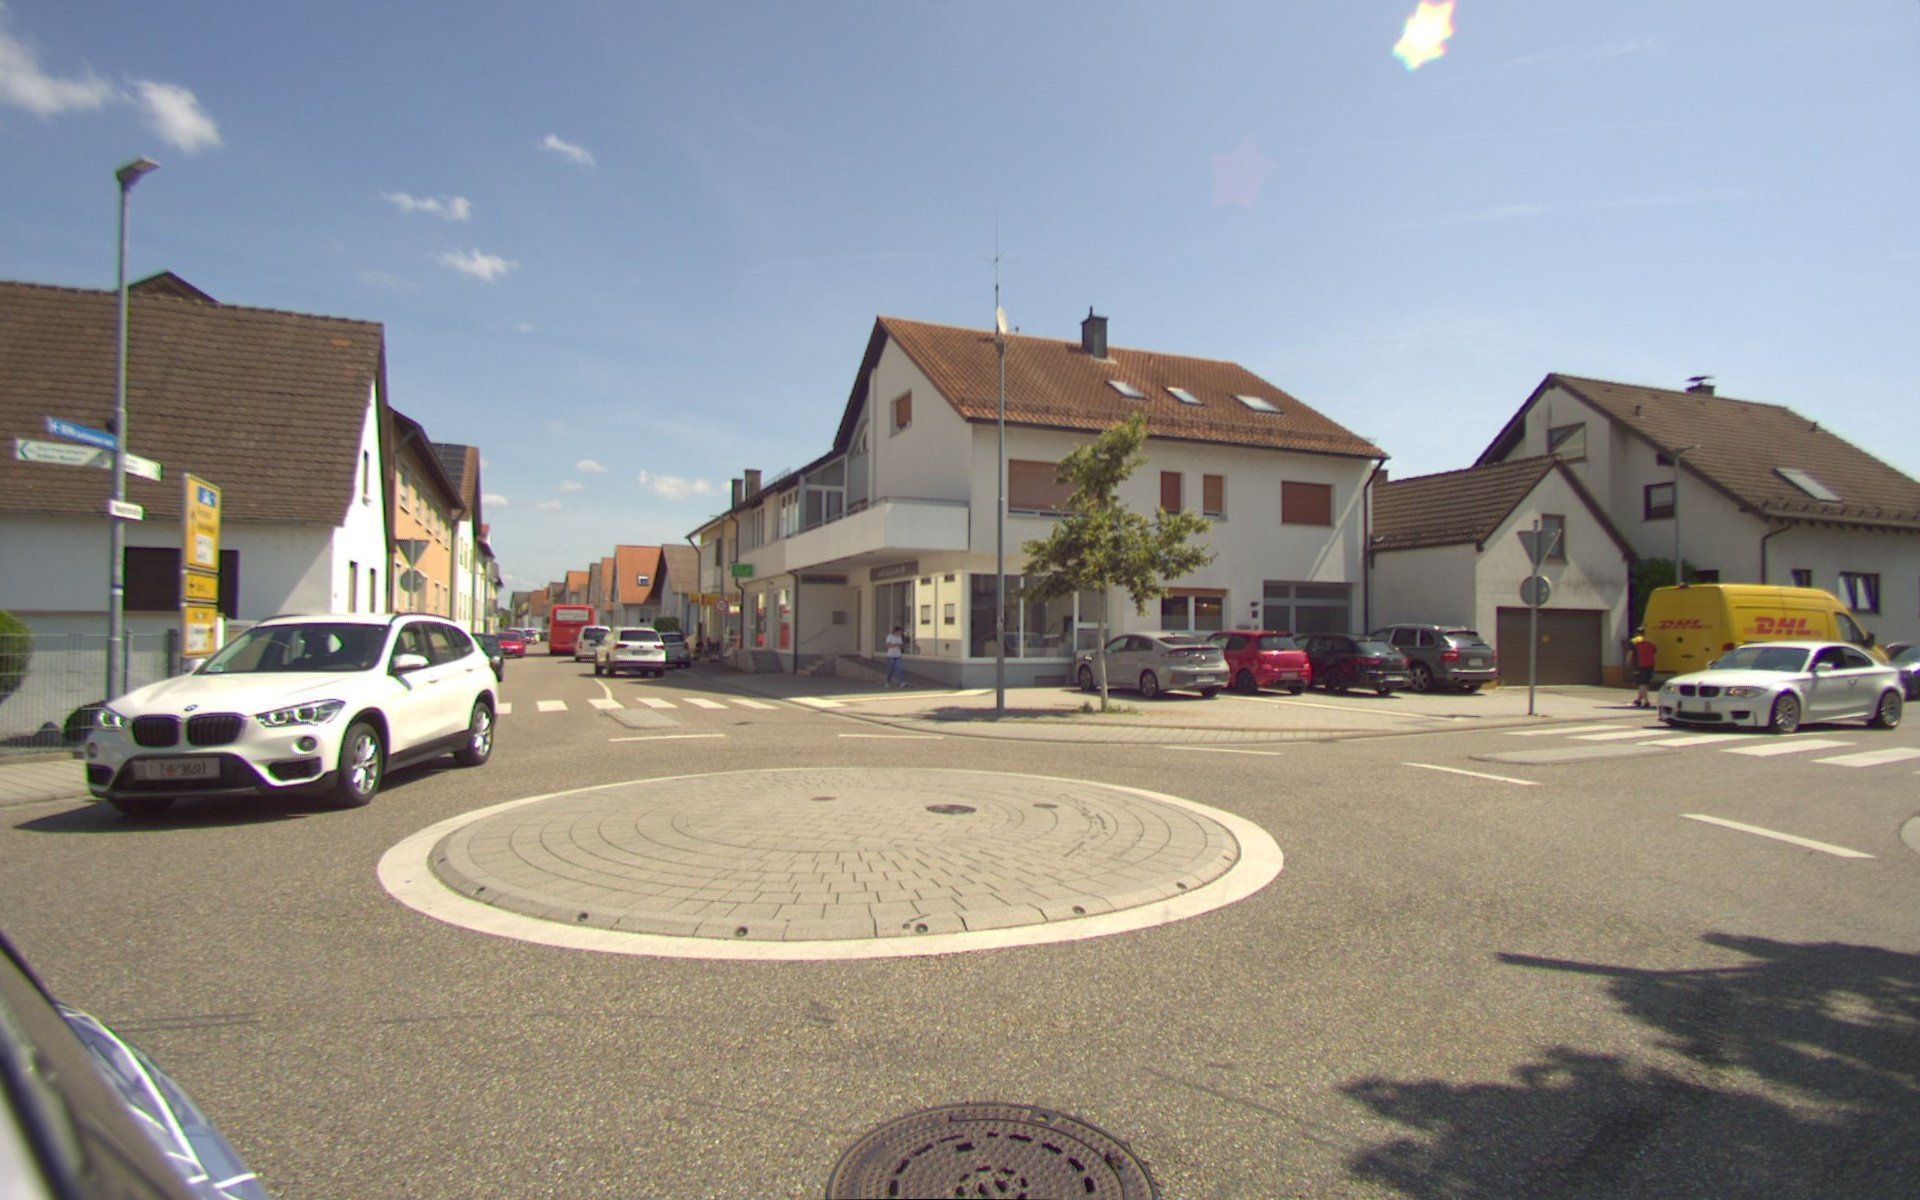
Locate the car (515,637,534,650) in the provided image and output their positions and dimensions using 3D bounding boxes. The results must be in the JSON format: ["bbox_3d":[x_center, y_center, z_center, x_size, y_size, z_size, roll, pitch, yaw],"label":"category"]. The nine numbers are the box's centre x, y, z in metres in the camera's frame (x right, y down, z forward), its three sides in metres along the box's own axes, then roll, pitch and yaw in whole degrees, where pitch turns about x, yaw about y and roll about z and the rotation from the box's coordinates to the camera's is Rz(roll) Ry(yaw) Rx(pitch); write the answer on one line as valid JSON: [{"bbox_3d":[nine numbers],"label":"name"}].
[{"bbox_3d":[-48.454,4.879,112.639,1.735,1.439,4.202,2,-3,-26],"label":"car"}]

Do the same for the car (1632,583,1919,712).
[{"bbox_3d":[17.843,1.050,22.184,5.586,2.592,2.119,1,-3,-18],"label":"car"}]

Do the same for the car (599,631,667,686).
[{"bbox_3d":[-11.120,1.918,34.233,1.839,1.723,4.557,1,-2,-22],"label":"car"}]

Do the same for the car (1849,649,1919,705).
[{"bbox_3d":[24.661,1.879,25.318,3.905,1.254,1.791,-1,-2,-17],"label":"car"}]

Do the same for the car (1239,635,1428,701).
[{"bbox_3d":[9.147,1.617,25.238,1.804,1.462,4.493,1,-2,-24],"label":"car"}]

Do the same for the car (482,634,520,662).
[{"bbox_3d":[-24.740,2.585,54.629,1.735,1.439,4.202,1,-3,-23],"label":"car"}]

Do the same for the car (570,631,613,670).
[{"bbox_3d":[-18.557,2.499,50.847,1.746,1.835,4.456,3,-3,-23],"label":"car"}]

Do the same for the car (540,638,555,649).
[{"bbox_3d":[-58.435,6.170,143.411,1.735,1.439,3.865,2,-3,-26],"label":"car"}]

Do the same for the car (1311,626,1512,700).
[{"bbox_3d":[11.798,1.584,26.849,1.953,1.753,4.765,1,-2,-24],"label":"car"}]

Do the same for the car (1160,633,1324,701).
[{"bbox_3d":[6.754,1.570,24.701,1.722,1.488,3.977,1,-2,-24],"label":"car"}]

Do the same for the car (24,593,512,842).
[{"bbox_3d":[-5.756,0.874,9.209,1.817,1.658,4.380,-2,-2,-6],"label":"car"}]

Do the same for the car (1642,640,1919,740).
[{"bbox_3d":[13.563,1.401,16.470,4.260,1.460,1.887,1,-2,-19],"label":"car"}]

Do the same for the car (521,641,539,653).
[{"bbox_3d":[-52.523,5.692,123.558,1.735,1.439,4.202,2,-3,-26],"label":"car"}]

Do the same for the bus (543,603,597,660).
[{"bbox_3d":[-25.218,2.070,65.160,2.589,3.257,12.061,3,-3,-23],"label":"bus"}]

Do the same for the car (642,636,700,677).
[{"bbox_3d":[-12.411,2.386,43.292,1.719,1.527,4.013,-3,0,-25],"label":"car"}]

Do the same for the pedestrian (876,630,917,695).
[{"bbox_3d":[-1.639,1.575,25.925,0.744,1.596,0.960,-1,-1,-21],"label":"pedestrian"}]

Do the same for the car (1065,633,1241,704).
[{"bbox_3d":[4.354,1.515,23.619,1.804,1.462,4.493,1,-2,-24],"label":"car"}]

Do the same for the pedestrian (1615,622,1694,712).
[{"bbox_3d":[14.715,1.417,21.473,0.769,1.840,1.026,0,-4,-19],"label":"pedestrian"}]

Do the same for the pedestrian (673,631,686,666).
[{"bbox_3d":[-14.477,2.487,52.244,0.569,1.803,0.695,-1,-1,-23],"label":"pedestrian"}]
